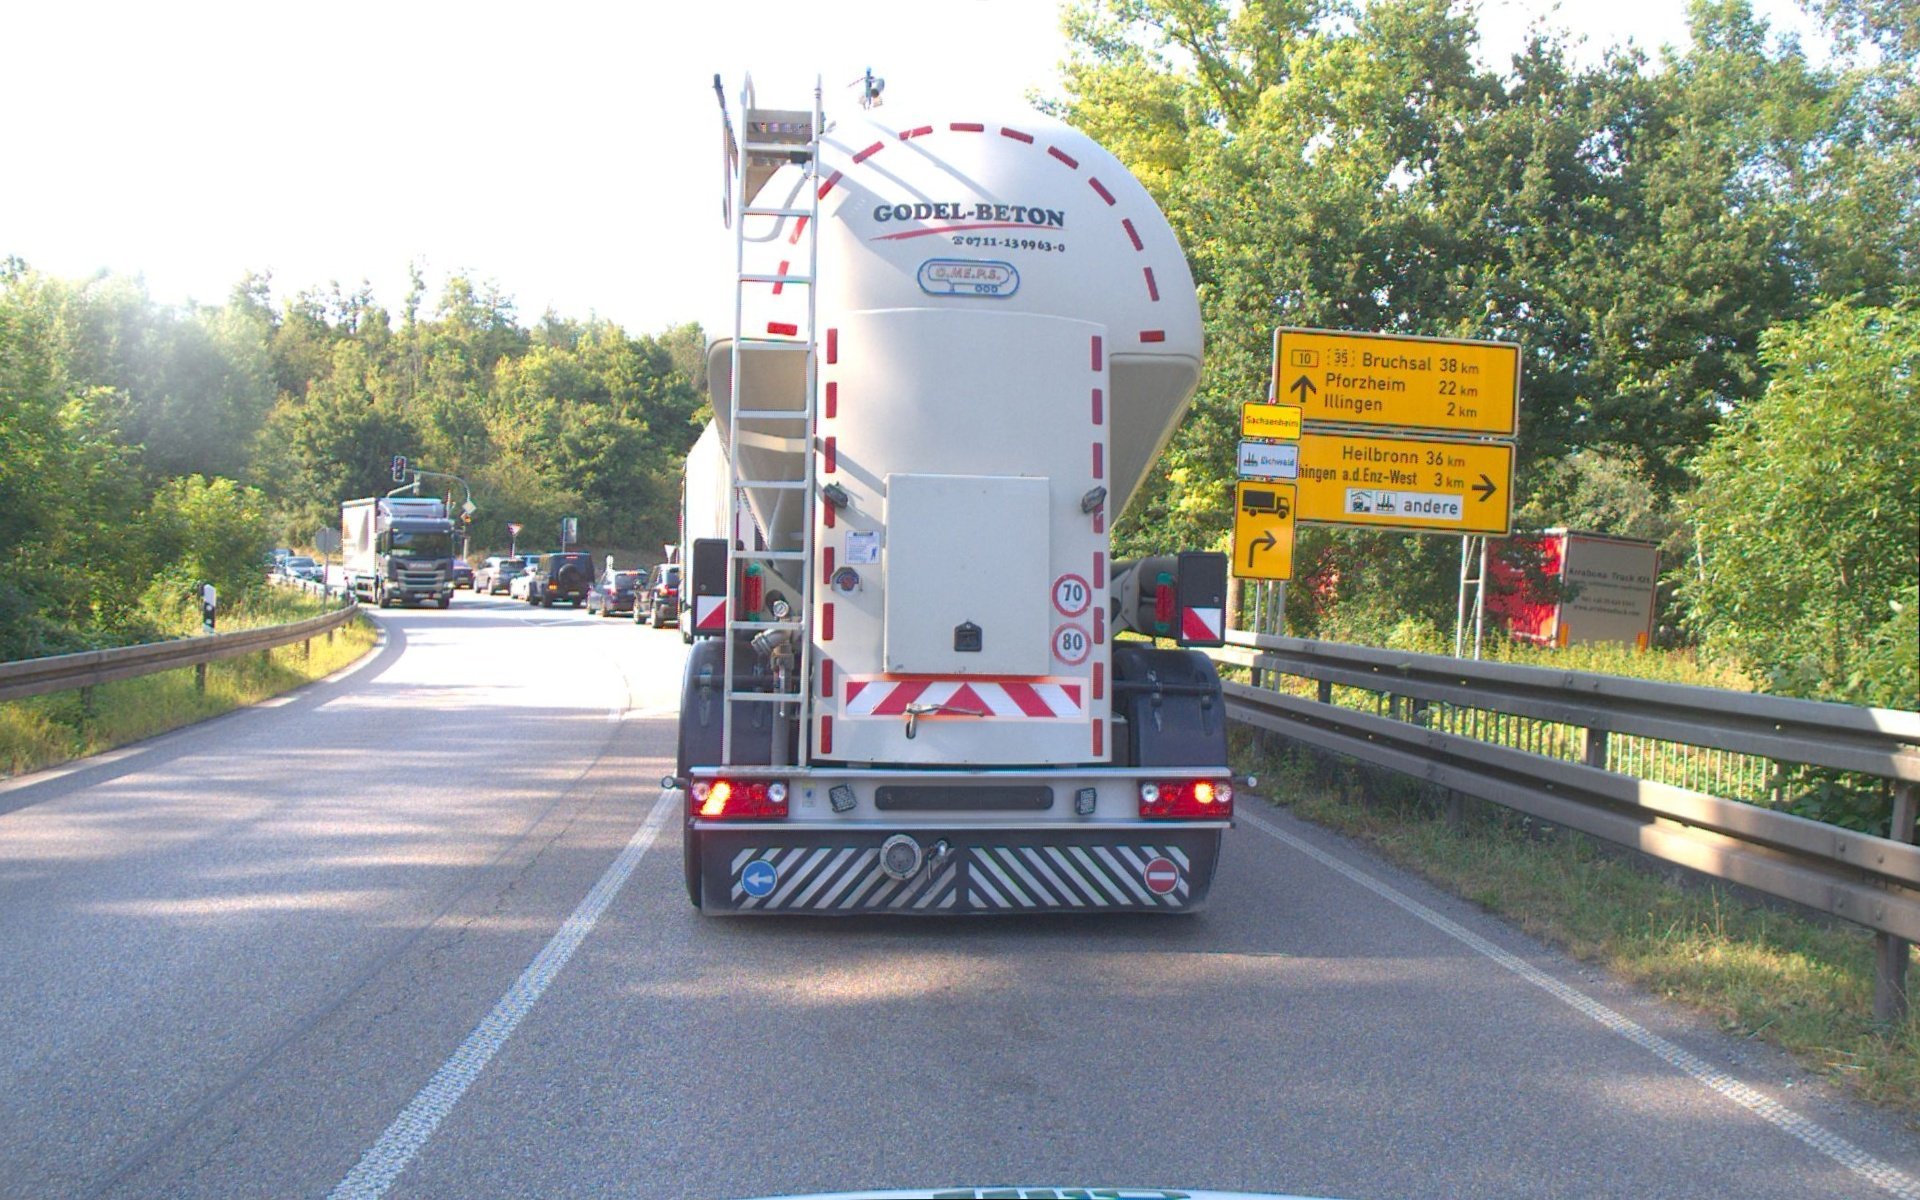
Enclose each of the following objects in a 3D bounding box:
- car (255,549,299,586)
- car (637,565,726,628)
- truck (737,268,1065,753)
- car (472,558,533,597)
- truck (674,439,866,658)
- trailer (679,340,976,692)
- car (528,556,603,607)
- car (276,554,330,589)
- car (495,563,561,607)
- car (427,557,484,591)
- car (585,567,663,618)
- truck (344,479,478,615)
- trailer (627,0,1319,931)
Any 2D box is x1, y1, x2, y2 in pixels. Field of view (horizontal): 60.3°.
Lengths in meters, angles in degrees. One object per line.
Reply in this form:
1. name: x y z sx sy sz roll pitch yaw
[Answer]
1. car: -37.758 -1.783 91.518 1.838 1.883 3.981 3 0 -17
2. car: -7.752 -0.131 45.812 1.839 1.656 3.979 0 1 -18
3. truck: -0.858 -0.763 17.150 2.771 4.105 5.885 1 0 -7
4. car: -20.796 -1.030 75.105 1.846 1.622 3.965 3 0 -27
5. truck: -4.240 -1.005 35.523 3.390 4.158 6.471 2 0 -12
6. trailer: -2.824 -1.139 28.630 3.483 4.592 12.947 2 0 -11
7. car: -14.882 -0.729 62.256 1.933 1.883 3.966 -1 2 -26
8. car: -32.682 -1.411 82.245 1.848 1.584 3.959 3 0 -31
9. car: -18.463 -0.654 70.541 1.846 1.712 3.965 3 0 -27
10. car: -25.118 -1.304 82.319 1.847 1.592 3.961 3 0 -29
11. car: -10.922 -0.270 53.610 1.841 1.592 3.974 0 1 -21
12. truck: -20.855 -1.894 62.392 2.979 4.665 10.144 1 0 -29
13. trailer: -0.310 -0.911 11.681 2.830 4.532 9.596 1 0 -5
